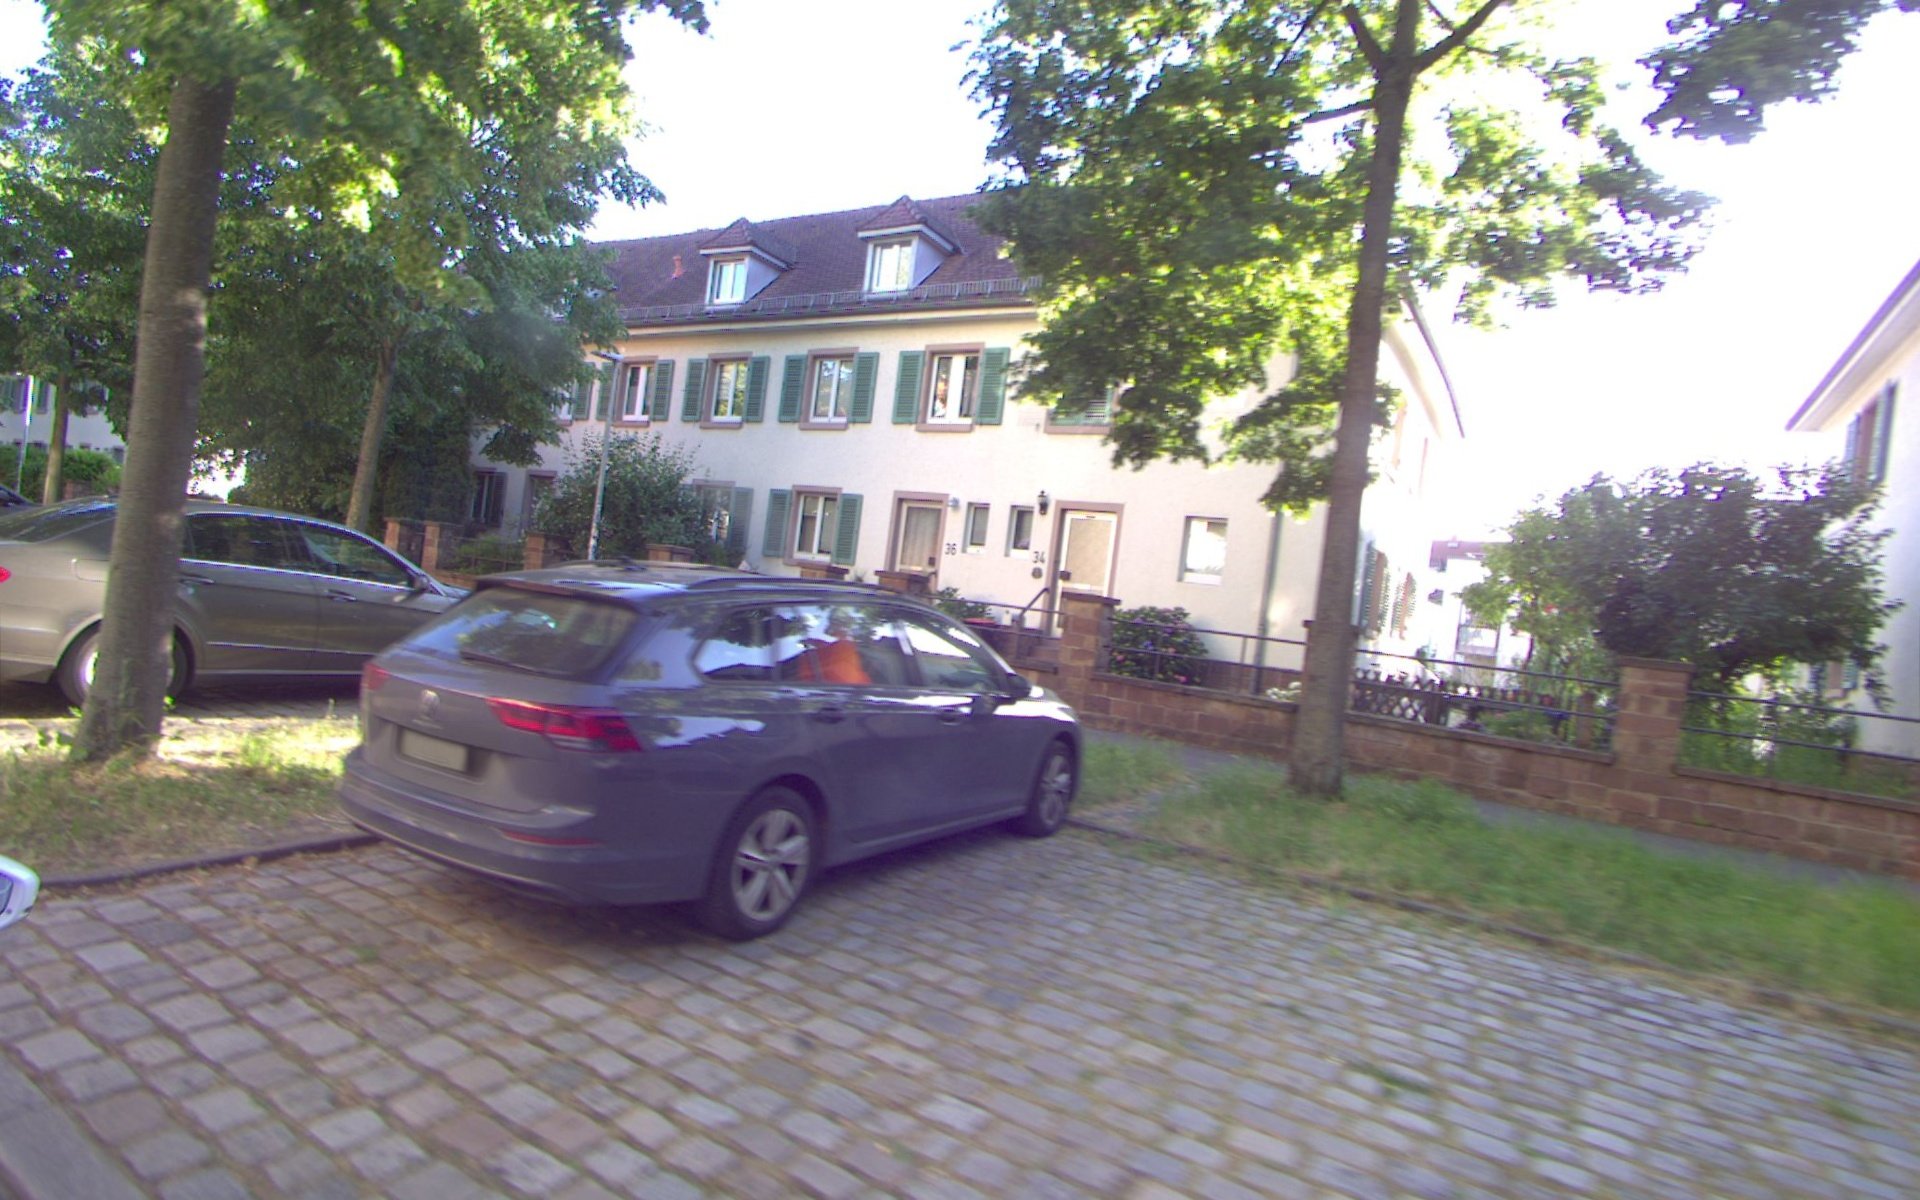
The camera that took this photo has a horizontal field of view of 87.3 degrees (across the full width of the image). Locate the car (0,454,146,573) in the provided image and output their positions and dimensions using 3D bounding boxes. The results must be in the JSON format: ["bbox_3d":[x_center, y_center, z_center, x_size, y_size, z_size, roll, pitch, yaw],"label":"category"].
[{"bbox_3d":[-15.048,-1.399,14.729,1.844,1.655,4.477,7,2,31],"label":"car"}]

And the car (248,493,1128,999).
[{"bbox_3d":[-0.857,0.455,5.411,1.798,1.455,4.476,7,2,32],"label":"car"}]

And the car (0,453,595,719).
[{"bbox_3d":[-5.519,-0.132,7.924,1.862,1.560,4.839,7,2,30],"label":"car"}]

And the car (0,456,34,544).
[{"bbox_3d":[-20.802,-2.152,18.970,1.876,1.700,4.579,7,3,33],"label":"car"}]
